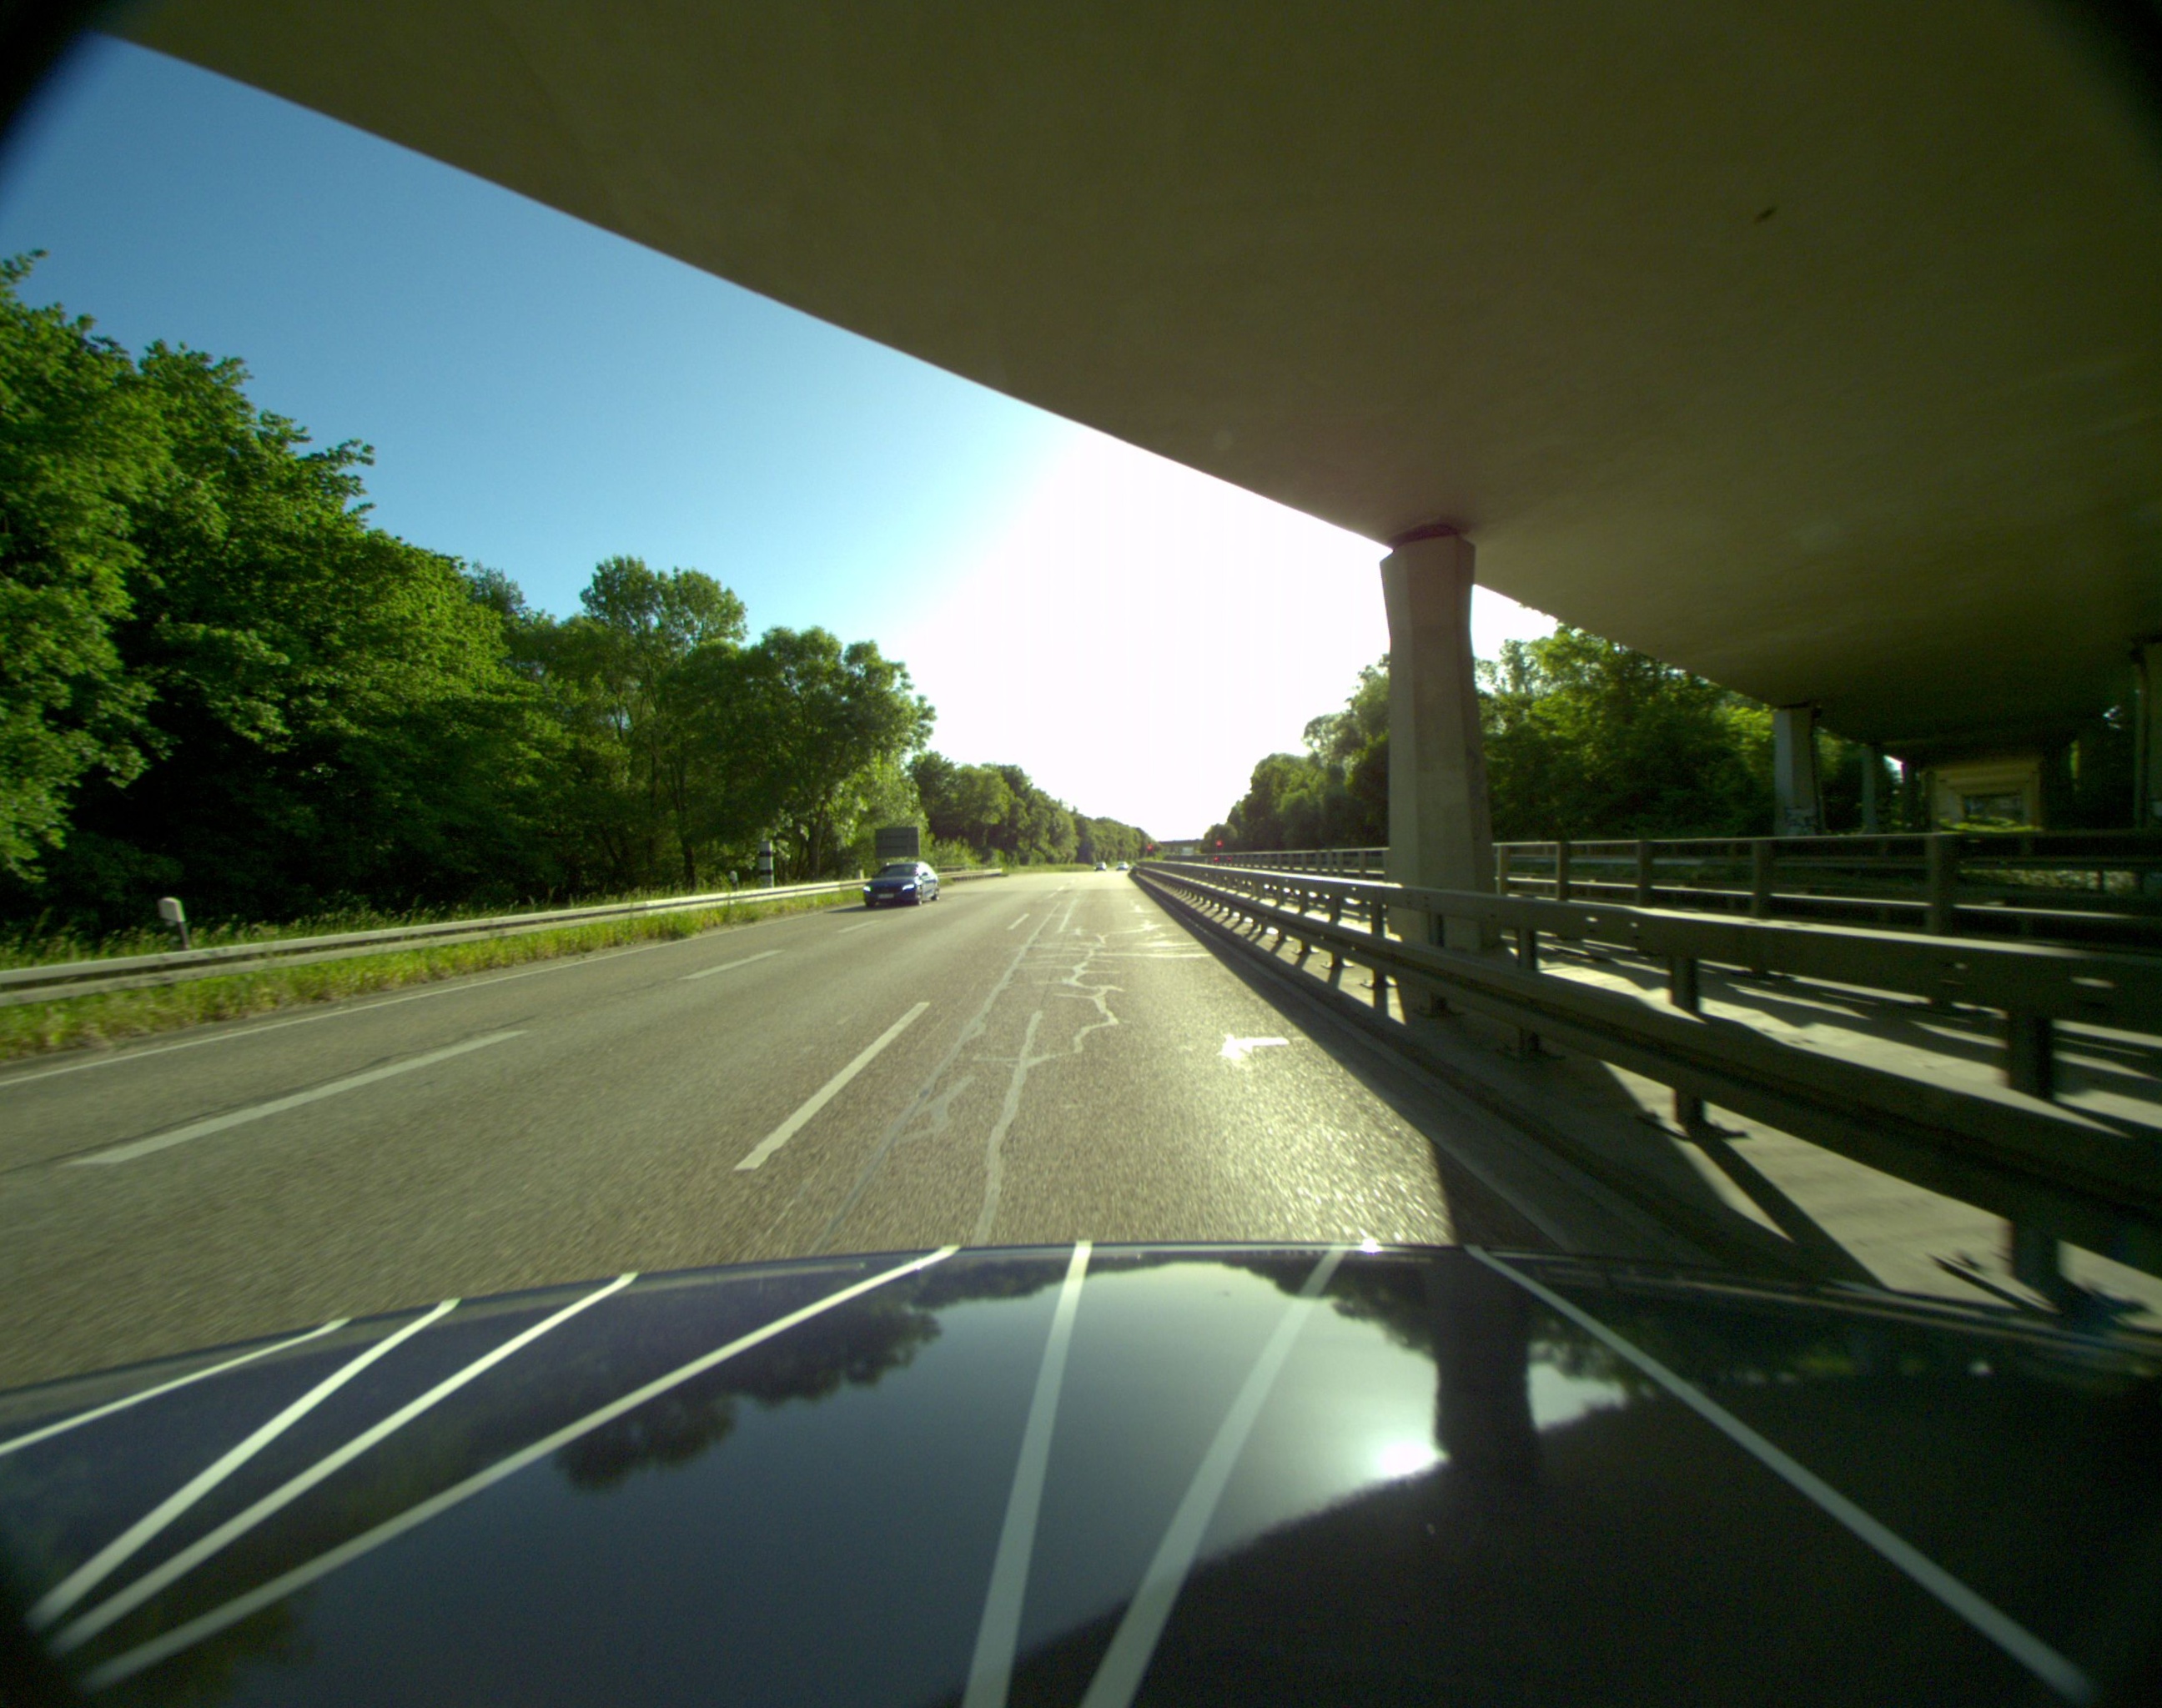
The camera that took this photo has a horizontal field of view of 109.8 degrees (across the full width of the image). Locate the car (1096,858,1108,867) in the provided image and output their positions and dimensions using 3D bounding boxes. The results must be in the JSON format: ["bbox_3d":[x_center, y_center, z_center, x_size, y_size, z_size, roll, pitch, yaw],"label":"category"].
[{"bbox_3d":[3.371,1.395,123.238,1.682,1.412,3.670,-3,0,4],"label":"car"}]

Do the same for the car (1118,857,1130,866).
[{"bbox_3d":[7.138,1.215,125.169,1.725,1.412,3.670,-3,0,5],"label":"car"}]

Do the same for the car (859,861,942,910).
[{"bbox_3d":[-6.078,1.014,26.078,1.763,1.401,4.055,-2,0,1],"label":"car"}]

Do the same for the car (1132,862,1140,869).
[{"bbox_3d":[12.029,2.438,165.927,1.725,1.412,3.670,-3,0,4],"label":"car"}]

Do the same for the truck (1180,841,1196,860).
[{"bbox_3d":[19.850,-0.661,141.361,2.424,3.378,9.618,-2,1,5],"label":"truck"}]
